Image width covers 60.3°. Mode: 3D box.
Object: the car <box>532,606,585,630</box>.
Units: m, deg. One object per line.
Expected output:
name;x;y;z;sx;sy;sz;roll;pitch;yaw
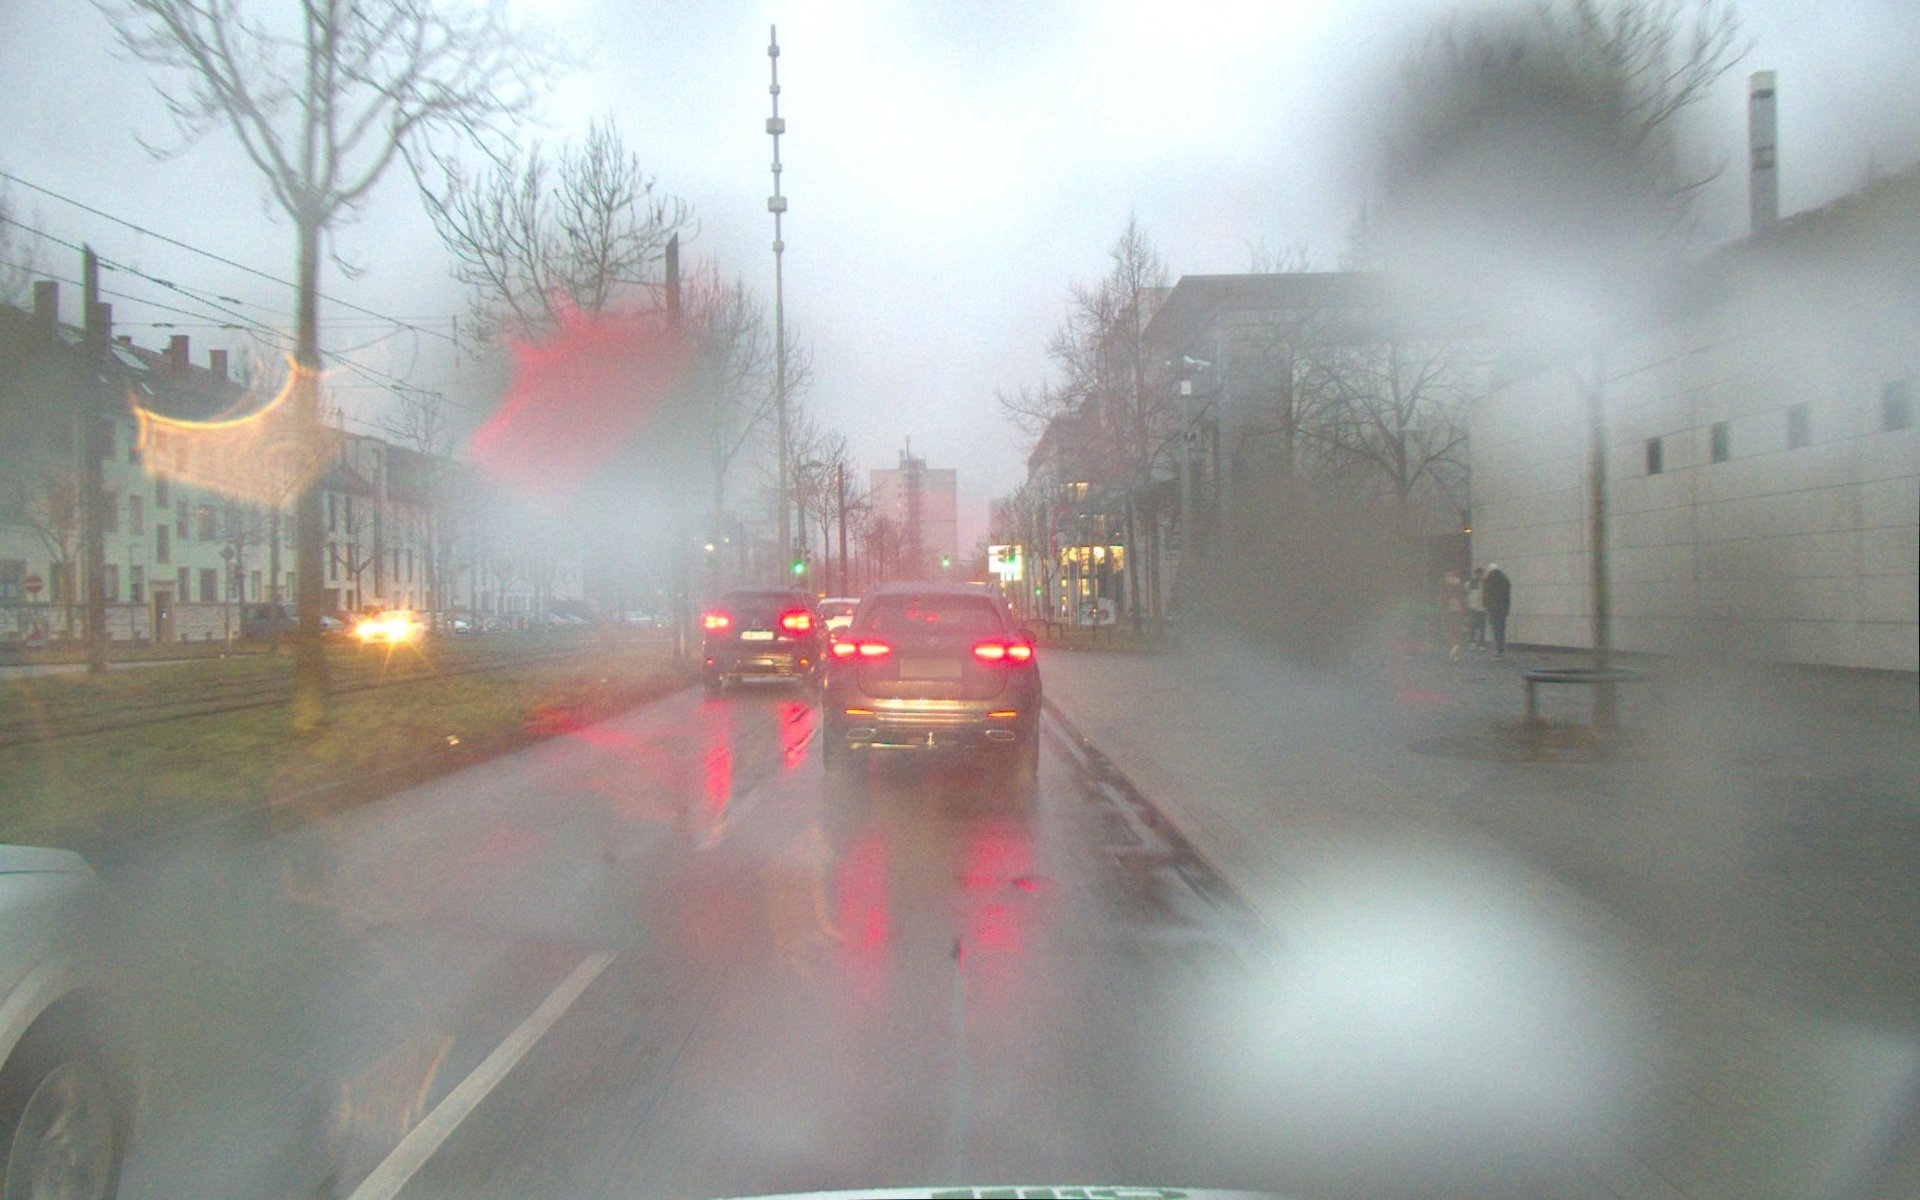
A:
car;-27.788;1.263;114.472;3.779;1.616;1.732;0;-1;41

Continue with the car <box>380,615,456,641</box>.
car;-27.791;1.424;84.769;3.740;1.193;1.733;1;0;32

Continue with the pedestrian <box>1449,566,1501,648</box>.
pedestrian;10.872;0.161;34.955;0.654;1.684;0.993;-2;-1;-6

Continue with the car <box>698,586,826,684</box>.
car;-3.199;0.549;27.408;1.781;1.476;3.998;1;0;-3

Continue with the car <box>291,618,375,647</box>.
car;-27.693;1.419;73.012;3.496;1.161;1.732;1;0;32

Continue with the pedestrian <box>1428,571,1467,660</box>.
pedestrian;9.056;0.286;30.754;0.658;1.640;0.615;0;-1;13

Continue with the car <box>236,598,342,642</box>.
car;-28.105;0.820;69.244;4.562;1.754;1.828;1;0;34

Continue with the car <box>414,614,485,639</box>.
car;-27.332;1.417;88.533;3.766;1.267;1.731;1;0;35

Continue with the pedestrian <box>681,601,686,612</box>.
pedestrian;-30.425;0.761;182.154;0.343;1.205;0.428;1;-1;-41

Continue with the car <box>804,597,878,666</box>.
car;-2.965;0.774;41.832;1.655;1.664;3.473;1;0;-1

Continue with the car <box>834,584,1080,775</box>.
car;-0.049;0.658;15.096;1.953;1.509;3.699;1;-1;-1

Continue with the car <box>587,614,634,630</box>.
car;-28.895;1.805;136.837;3.464;1.221;1.878;0;0;31

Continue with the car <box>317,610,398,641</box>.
car;-27.544;1.156;75.647;3.504;1.332;1.682;1;0;32

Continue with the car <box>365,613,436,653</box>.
car;-22.264;1.285;65.972;1.514;1.530;3.783;1;0;0

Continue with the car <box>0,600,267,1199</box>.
car;-2.548;0.739;2.127;1.654;1.500;4.000;1;0;-1

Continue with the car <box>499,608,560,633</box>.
car;-28.094;1.318;107.861;4.079;1.568;1.664;0;0;36

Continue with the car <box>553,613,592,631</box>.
car;-28.407;1.601;121.343;2.835;1.225;1.380;0;0;41

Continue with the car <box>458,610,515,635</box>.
car;-28.179;1.322;98.393;3.320;1.446;1.662;0;0;38

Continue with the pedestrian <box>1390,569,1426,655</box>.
pedestrian;8.724;0.238;32.228;0.658;1.653;0.615;0;-1;15

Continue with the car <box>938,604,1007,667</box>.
car;0.297;0.953;45.633;1.817;1.664;3.473;1;0;-1

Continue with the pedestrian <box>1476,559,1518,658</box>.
pedestrian;9.942;0.160;30.636;0.658;1.809;0.615;0;-1;13
